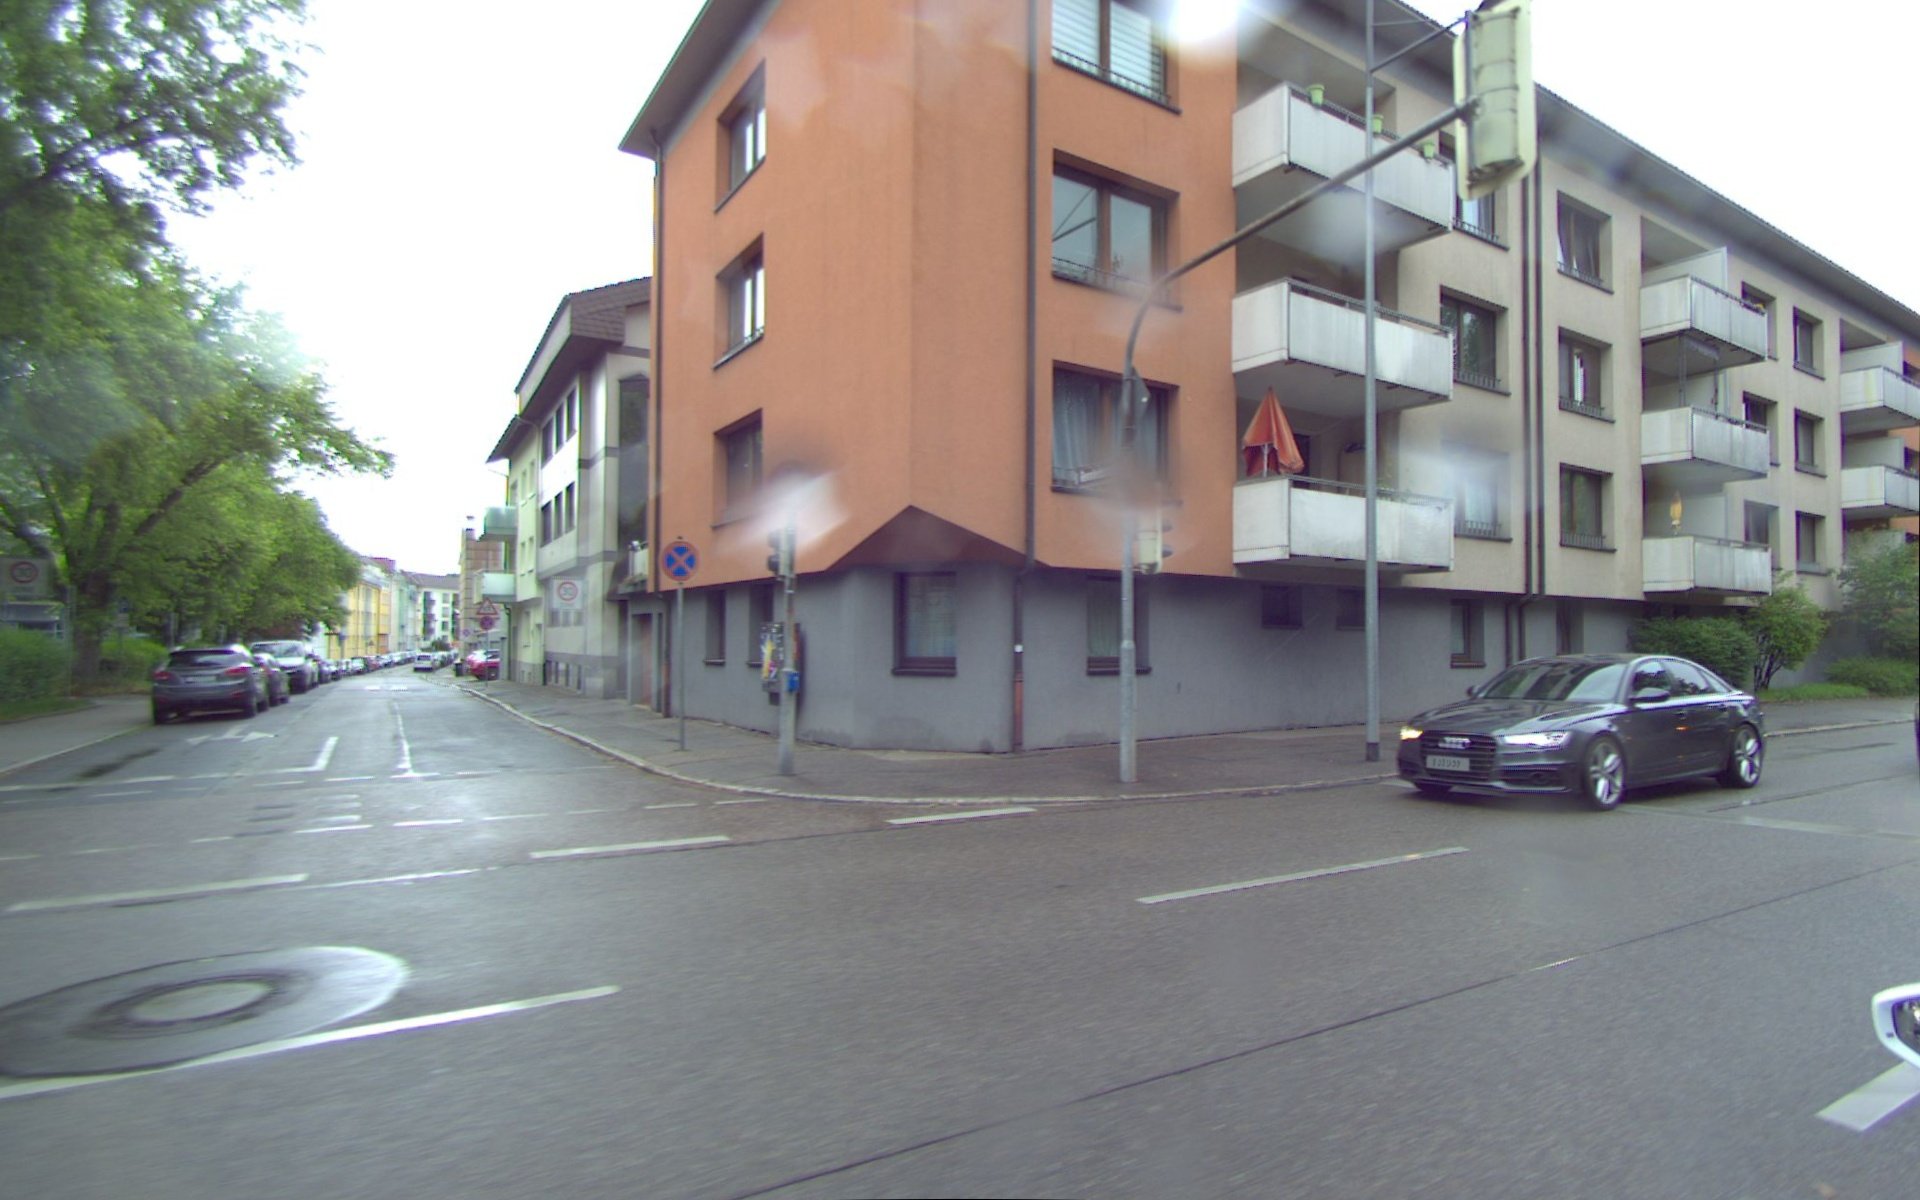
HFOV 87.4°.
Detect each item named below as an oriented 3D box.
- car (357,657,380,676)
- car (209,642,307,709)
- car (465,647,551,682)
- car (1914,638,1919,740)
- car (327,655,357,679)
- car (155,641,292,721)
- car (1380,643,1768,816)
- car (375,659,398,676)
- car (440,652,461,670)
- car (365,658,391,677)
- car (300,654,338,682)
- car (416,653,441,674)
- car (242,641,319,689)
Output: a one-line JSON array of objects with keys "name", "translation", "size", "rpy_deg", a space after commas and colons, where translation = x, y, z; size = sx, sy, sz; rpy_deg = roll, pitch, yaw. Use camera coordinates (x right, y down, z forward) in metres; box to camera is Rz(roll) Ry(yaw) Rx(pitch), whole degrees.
[{"name": "car", "translation": [-47.586, 5.352, 80.893], "size": [1.379, 1.451, 2.979], "rpy_deg": [1, -3, -27]}, {"name": "car", "translation": [-19.408, 2.057, 27.916], "size": [1.725, 1.718, 3.900], "rpy_deg": [2, -4, -28]}, {"name": "car", "translation": [-23.944, 3.397, 53.260], "size": [3.954, 1.706, 1.813], "rpy_deg": [2, -1, -31]}, {"name": "car", "translation": [12.997, 1.201, 12.146], "size": [4.185, 1.488, 1.732], "rpy_deg": [3, -5, -42]}, {"name": "car", "translation": [-40.222, 4.355, 65.448], "size": [1.379, 1.451, 2.979], "rpy_deg": [1, -3, -27]}, {"name": "car", "translation": [-16.915, 1.829, 23.283], "size": [1.976, 1.683, 3.971], "rpy_deg": [2, -4, -28]}, {"name": "car", "translation": [6.511, 1.220, 10.556], "size": [4.170, 1.488, 1.766], "rpy_deg": [2, -4, -32]}, {"name": "car", "translation": [-60.826, 7.143, 106.556], "size": [1.888, 1.772, 3.974], "rpy_deg": [1, -3, -26]}, {"name": "car", "translation": [-58.914, 7.017, 116.264], "size": [1.892, 2.040, 3.978], "rpy_deg": [1, -3, -24]}, {"name": "car", "translation": [-56.313, 6.514, 97.202], "size": [1.888, 1.772, 3.974], "rpy_deg": [1, -3, -26]}, {"name": "car", "translation": [-33.998, 3.595, 53.324], "size": [1.379, 1.451, 2.979], "rpy_deg": [1, -3, -27]}, {"name": "car", "translation": [-53.288, 6.341, 100.804], "size": [1.892, 2.040, 3.978], "rpy_deg": [1, -3, -24]}, {"name": "car", "translation": [-24.846, 2.366, 36.872], "size": [1.898, 1.649, 3.900], "rpy_deg": [2, -4, -28]}]
